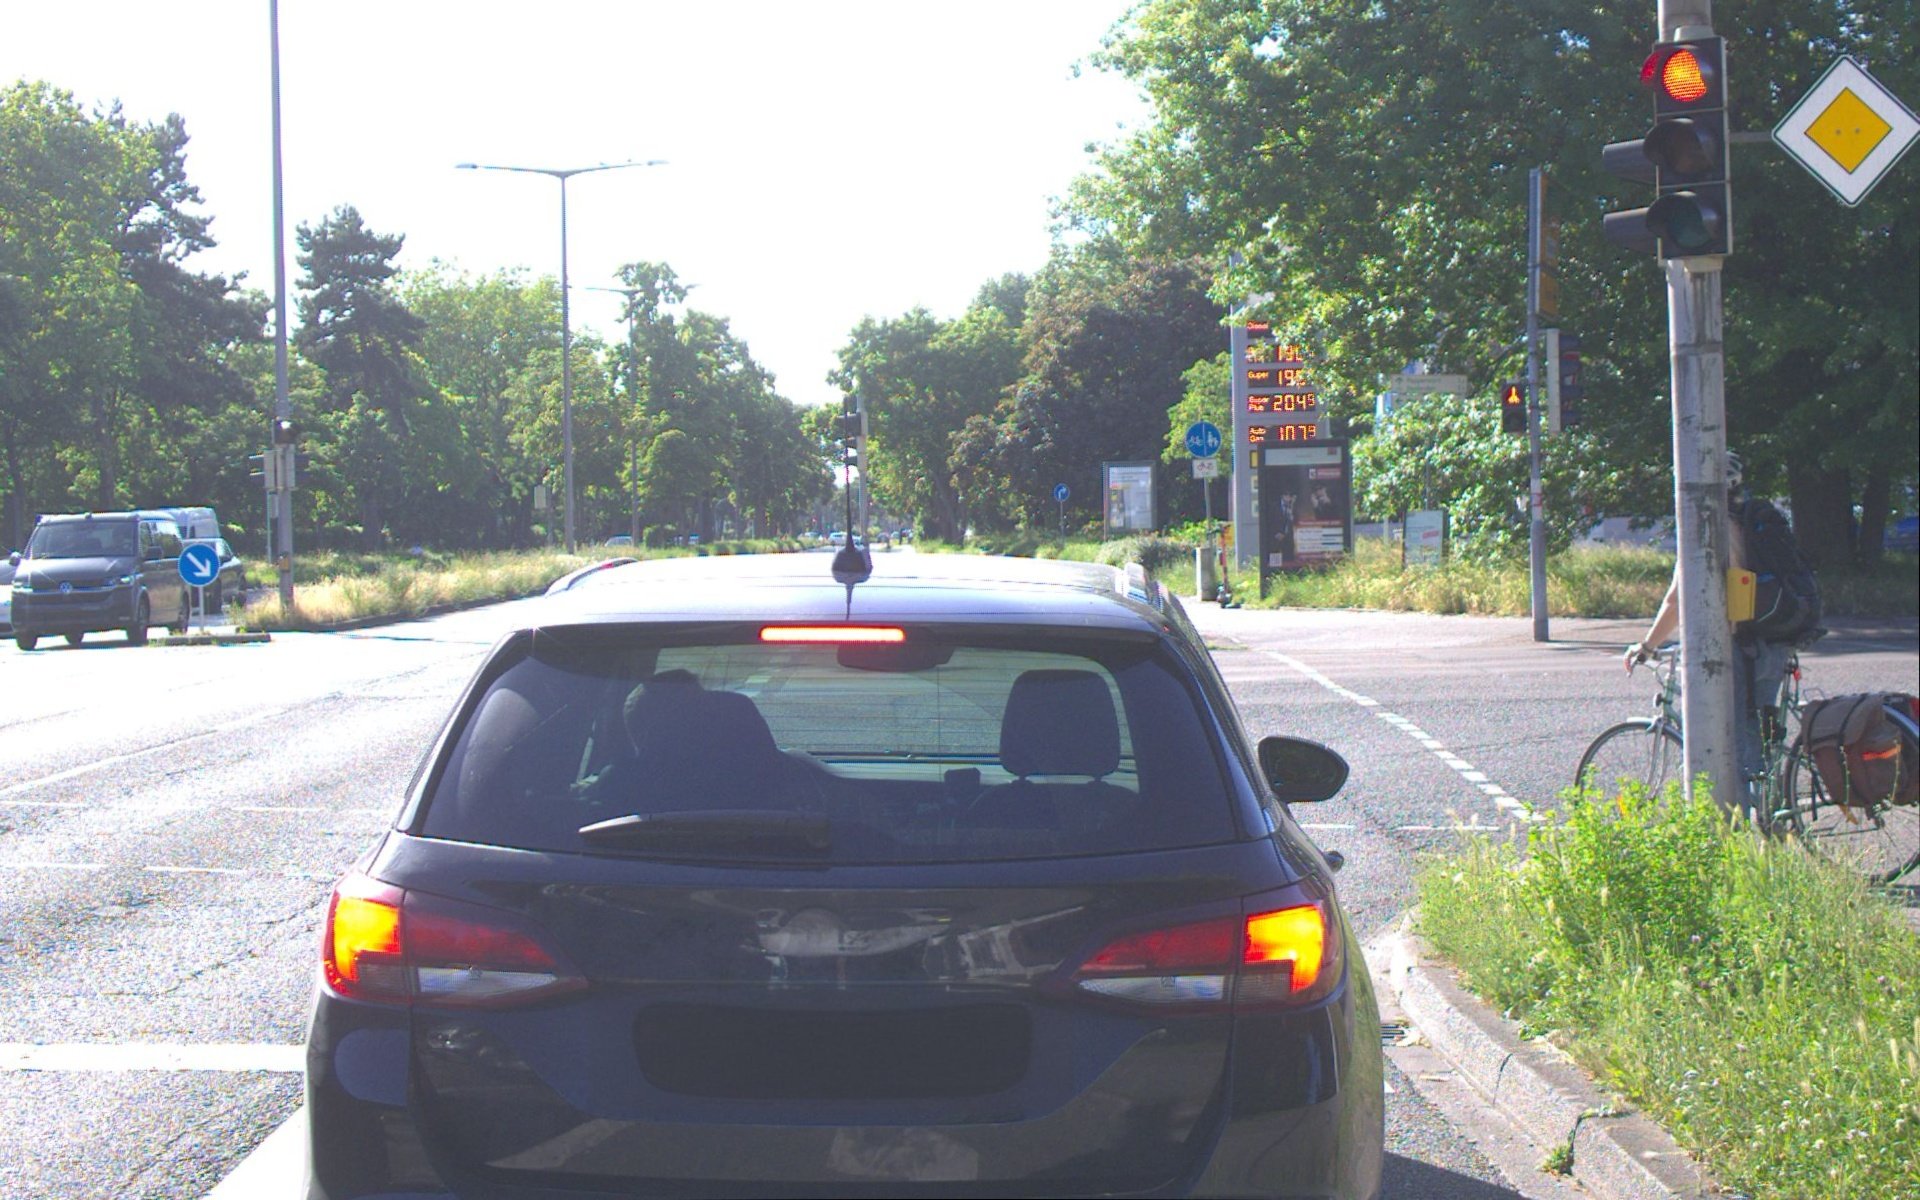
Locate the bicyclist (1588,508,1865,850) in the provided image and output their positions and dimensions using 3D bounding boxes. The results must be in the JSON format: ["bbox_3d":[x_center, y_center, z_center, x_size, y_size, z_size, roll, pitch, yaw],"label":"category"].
[{"bbox_3d":[2.969,0.305,13.333,0.536,1.272,0.829,-3,0,-44],"label":"bicyclist"}]

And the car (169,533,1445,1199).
[{"bbox_3d":[-0.235,0.631,6.850,1.756,1.490,4.207,0,1,-1],"label":"car"}]

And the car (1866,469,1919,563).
[{"bbox_3d":[17.095,-1.426,56.717,3.887,1.512,1.746,-2,1,-23],"label":"car"}]

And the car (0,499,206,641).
[{"bbox_3d":[-12.850,-0.486,51.721,1.911,1.985,5.016,-1,1,-1],"label":"car"}]

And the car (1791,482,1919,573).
[{"bbox_3d":[16.620,-1.285,59.803,3.887,1.512,1.746,-2,1,-23],"label":"car"}]

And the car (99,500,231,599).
[{"bbox_3d":[-20.981,-1.353,90.977,2.100,2.484,6.004,-2,1,-1],"label":"car"}]

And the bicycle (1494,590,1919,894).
[{"bbox_3d":[2.977,0.546,13.335,0.536,1.094,1.775,-3,0,-44],"label":"bicycle"}]

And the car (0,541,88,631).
[{"bbox_3d":[-17.030,-0.254,61.187,1.888,1.519,4.504,-1,1,-1],"label":"car"}]
